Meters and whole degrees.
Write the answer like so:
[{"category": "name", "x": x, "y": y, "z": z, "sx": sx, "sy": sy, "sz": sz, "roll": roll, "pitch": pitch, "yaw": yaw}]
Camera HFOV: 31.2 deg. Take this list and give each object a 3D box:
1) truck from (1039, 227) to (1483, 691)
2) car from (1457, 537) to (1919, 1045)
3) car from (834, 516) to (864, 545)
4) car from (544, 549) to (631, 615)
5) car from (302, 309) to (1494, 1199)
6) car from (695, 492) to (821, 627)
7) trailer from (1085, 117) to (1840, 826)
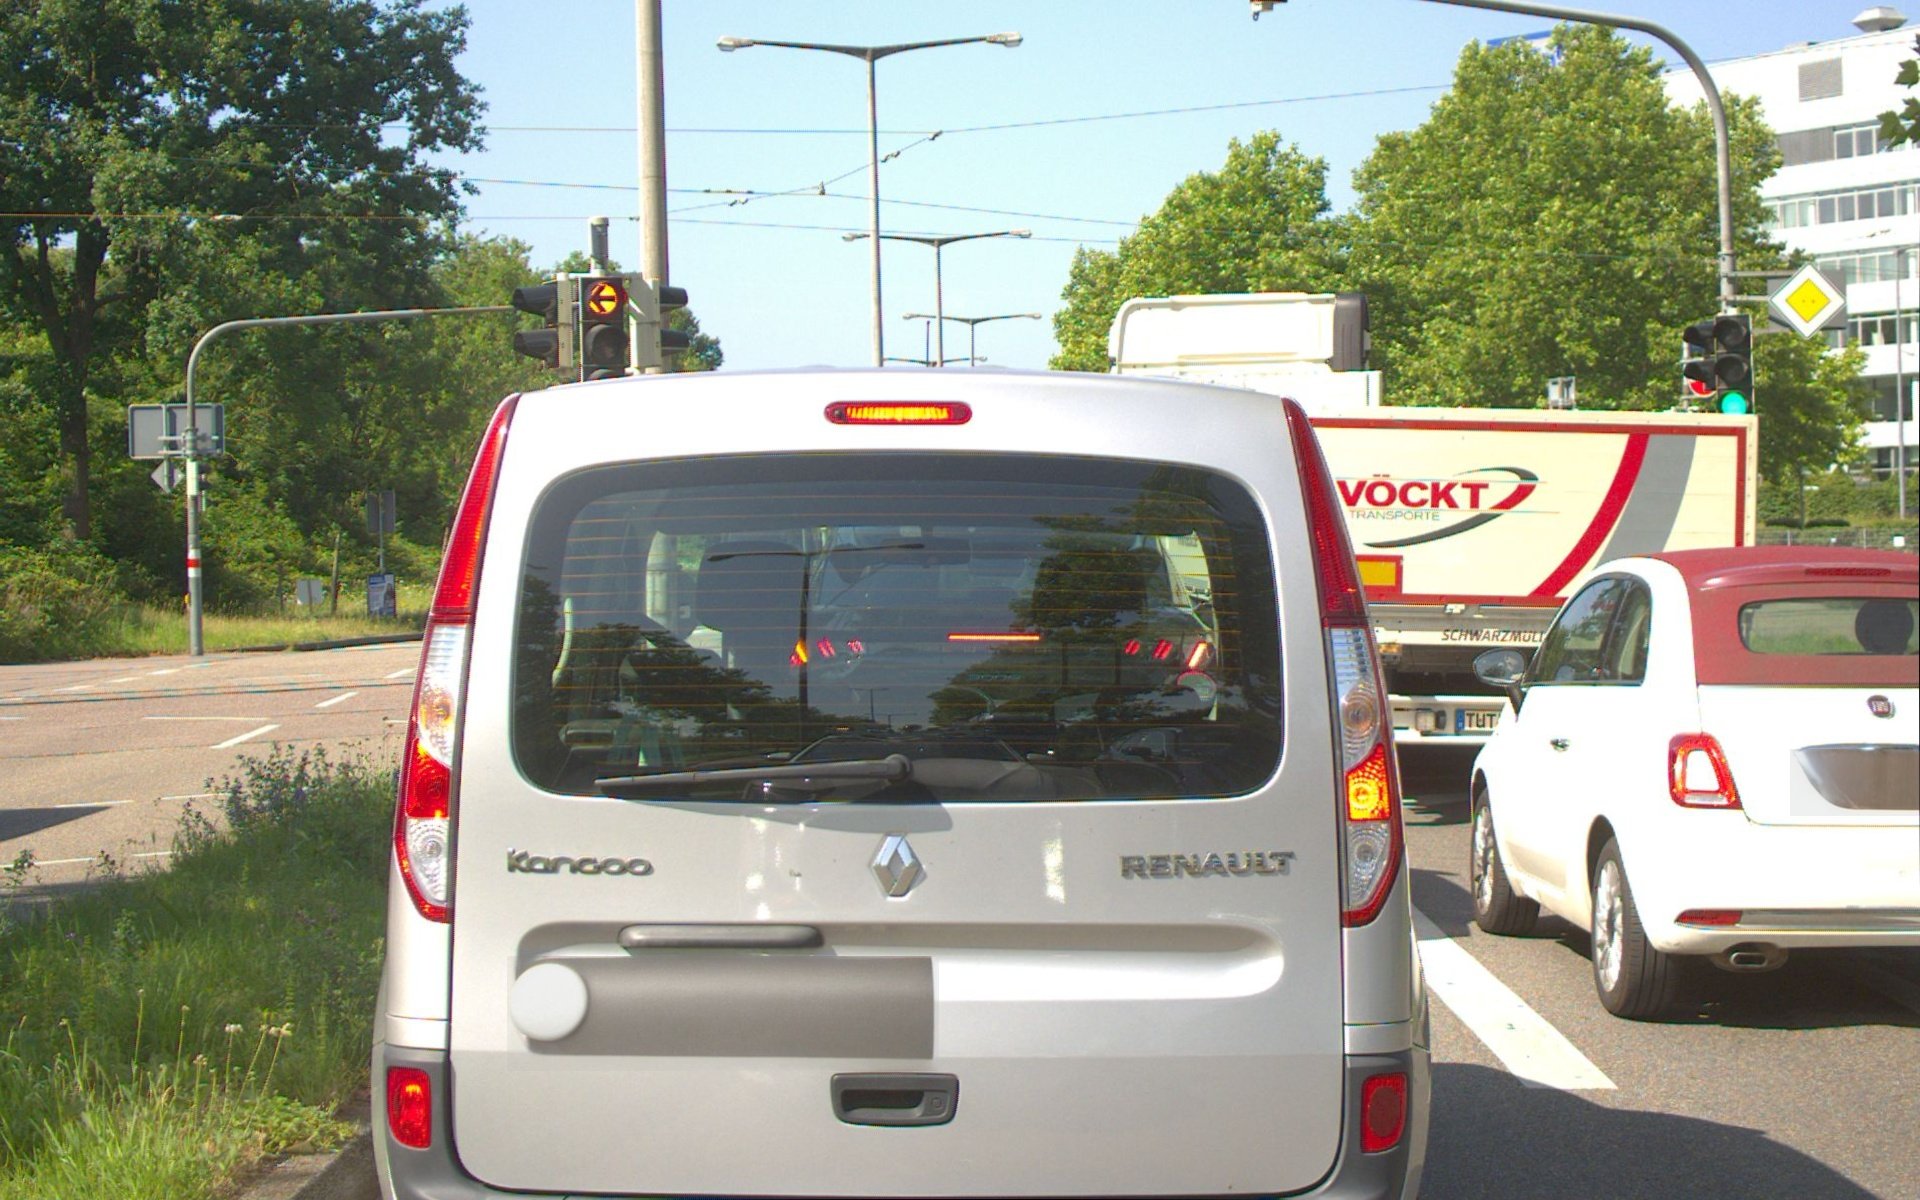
[{"category": "truck", "x": 2.470, "y": -1.151, "z": 30.811, "sx": 2.910, "sy": 3.630, "sz": 7.190, "roll": 1, "pitch": 1, "yaw": -3}, {"category": "car", "x": 2.761, "y": 0.561, "z": 11.939, "sx": 1.538, "sy": 1.509, "sz": 3.260, "roll": 1, "pitch": 1, "yaw": -1}, {"category": "car", "x": -8.099, "y": -5.049, "z": 250.699, "sx": 1.888, "sy": 2.007, "sz": 4.000, "roll": 1, "pitch": 1, "yaw": 2}, {"category": "car", "x": -9.112, "y": -0.468, "z": 84.286, "sx": 1.699, "sy": 1.503, "sz": 4.000, "roll": -1, "pitch": 2, "yaw": -1}, {"category": "car", "x": -0.121, "y": 0.468, "z": 7.211, "sx": 1.786, "sy": 1.831, "sz": 4.000, "roll": 1, "pitch": 1, "yaw": -1}, {"category": "car", "x": -4.043, "y": -0.817, "z": 69.674, "sx": 1.994, "sy": 2.598, "sz": 5.133, "roll": -1, "pitch": 0, "yaw": 2}, {"category": "trailer", "x": 2.824, "y": -0.726, "z": 24.053, "sx": 2.900, "sy": 3.610, "sz": 12.687, "roll": 1, "pitch": 1, "yaw": -2}]
